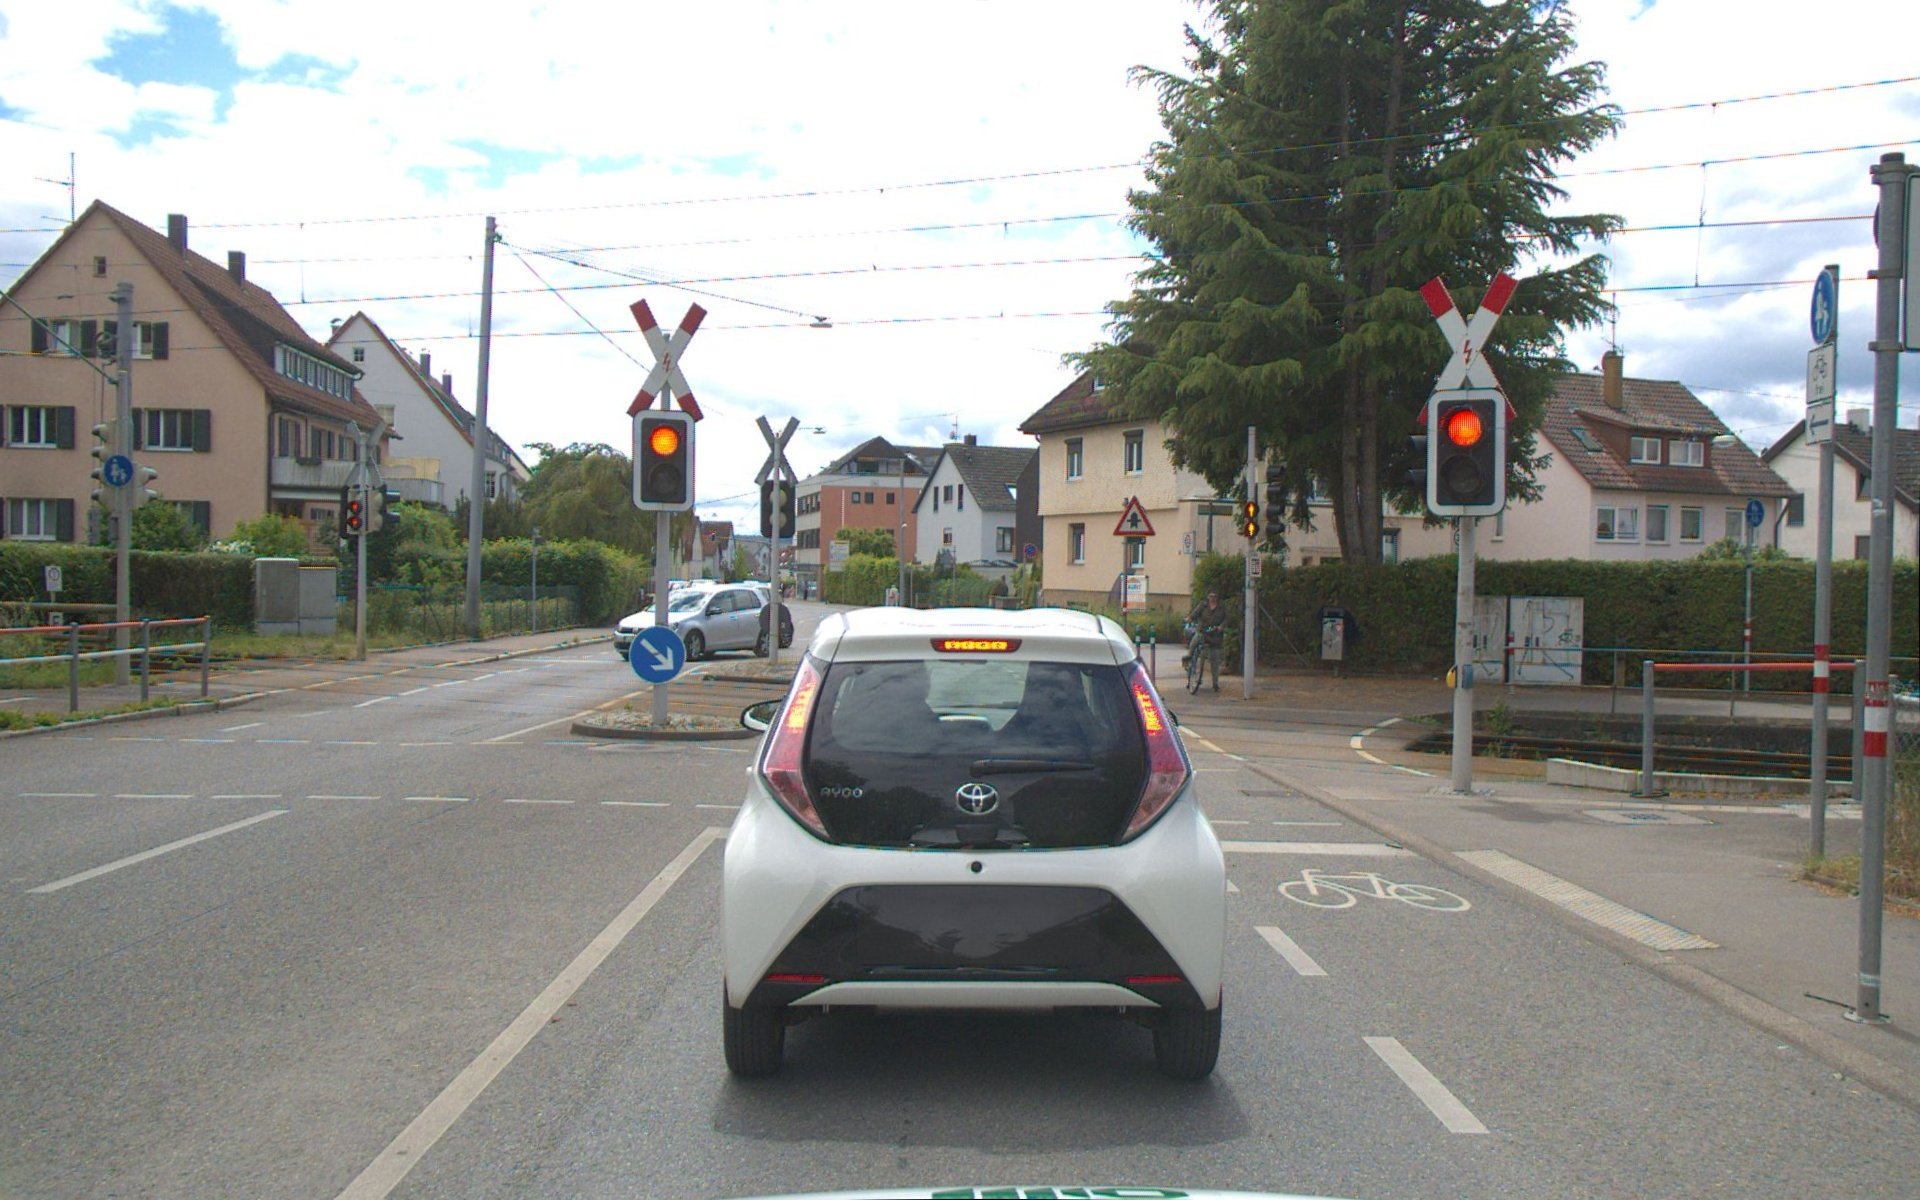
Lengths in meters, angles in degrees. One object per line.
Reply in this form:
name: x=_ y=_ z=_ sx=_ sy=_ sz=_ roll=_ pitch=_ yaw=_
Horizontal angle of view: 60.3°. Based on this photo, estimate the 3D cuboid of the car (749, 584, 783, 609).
car: x=-12.527 y=-0.246 z=106.761 sx=1.744 sy=1.589 sz=4.156 roll=0 pitch=1 yaw=-13

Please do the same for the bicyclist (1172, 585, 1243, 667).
bicyclist: x=3.944 y=0.407 z=26.285 sx=0.912 sy=1.269 sz=1.102 roll=0 pitch=0 yaw=21

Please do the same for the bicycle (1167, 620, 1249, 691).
bicycle: x=3.977 y=0.863 z=26.376 sx=0.912 sy=1.058 sz=1.915 roll=0 pitch=0 yaw=20

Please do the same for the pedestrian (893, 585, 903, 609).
pedestrian: x=-3.788 y=-0.166 z=101.438 sx=0.407 sy=1.463 sz=0.435 roll=2 pitch=1 yaw=44

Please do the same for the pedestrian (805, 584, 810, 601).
pedestrian: x=-12.963 y=-0.657 z=140.706 sx=0.406 sy=1.463 sz=0.436 roll=1 pitch=0 yaw=-11

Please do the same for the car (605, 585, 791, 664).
car: x=-5.389 y=0.459 z=34.452 sx=1.657 sy=1.483 sz=4.062 roll=2 pitch=2 yaw=29

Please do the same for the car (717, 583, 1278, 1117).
car: x=0.082 y=0.724 z=6.717 sx=1.588 sy=1.512 sz=3.999 roll=1 pitch=0 yaw=-1

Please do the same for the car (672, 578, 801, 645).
car: x=-5.450 y=0.289 z=40.489 sx=1.551 sy=1.536 sz=2.772 roll=1 pitch=0 yaw=41
